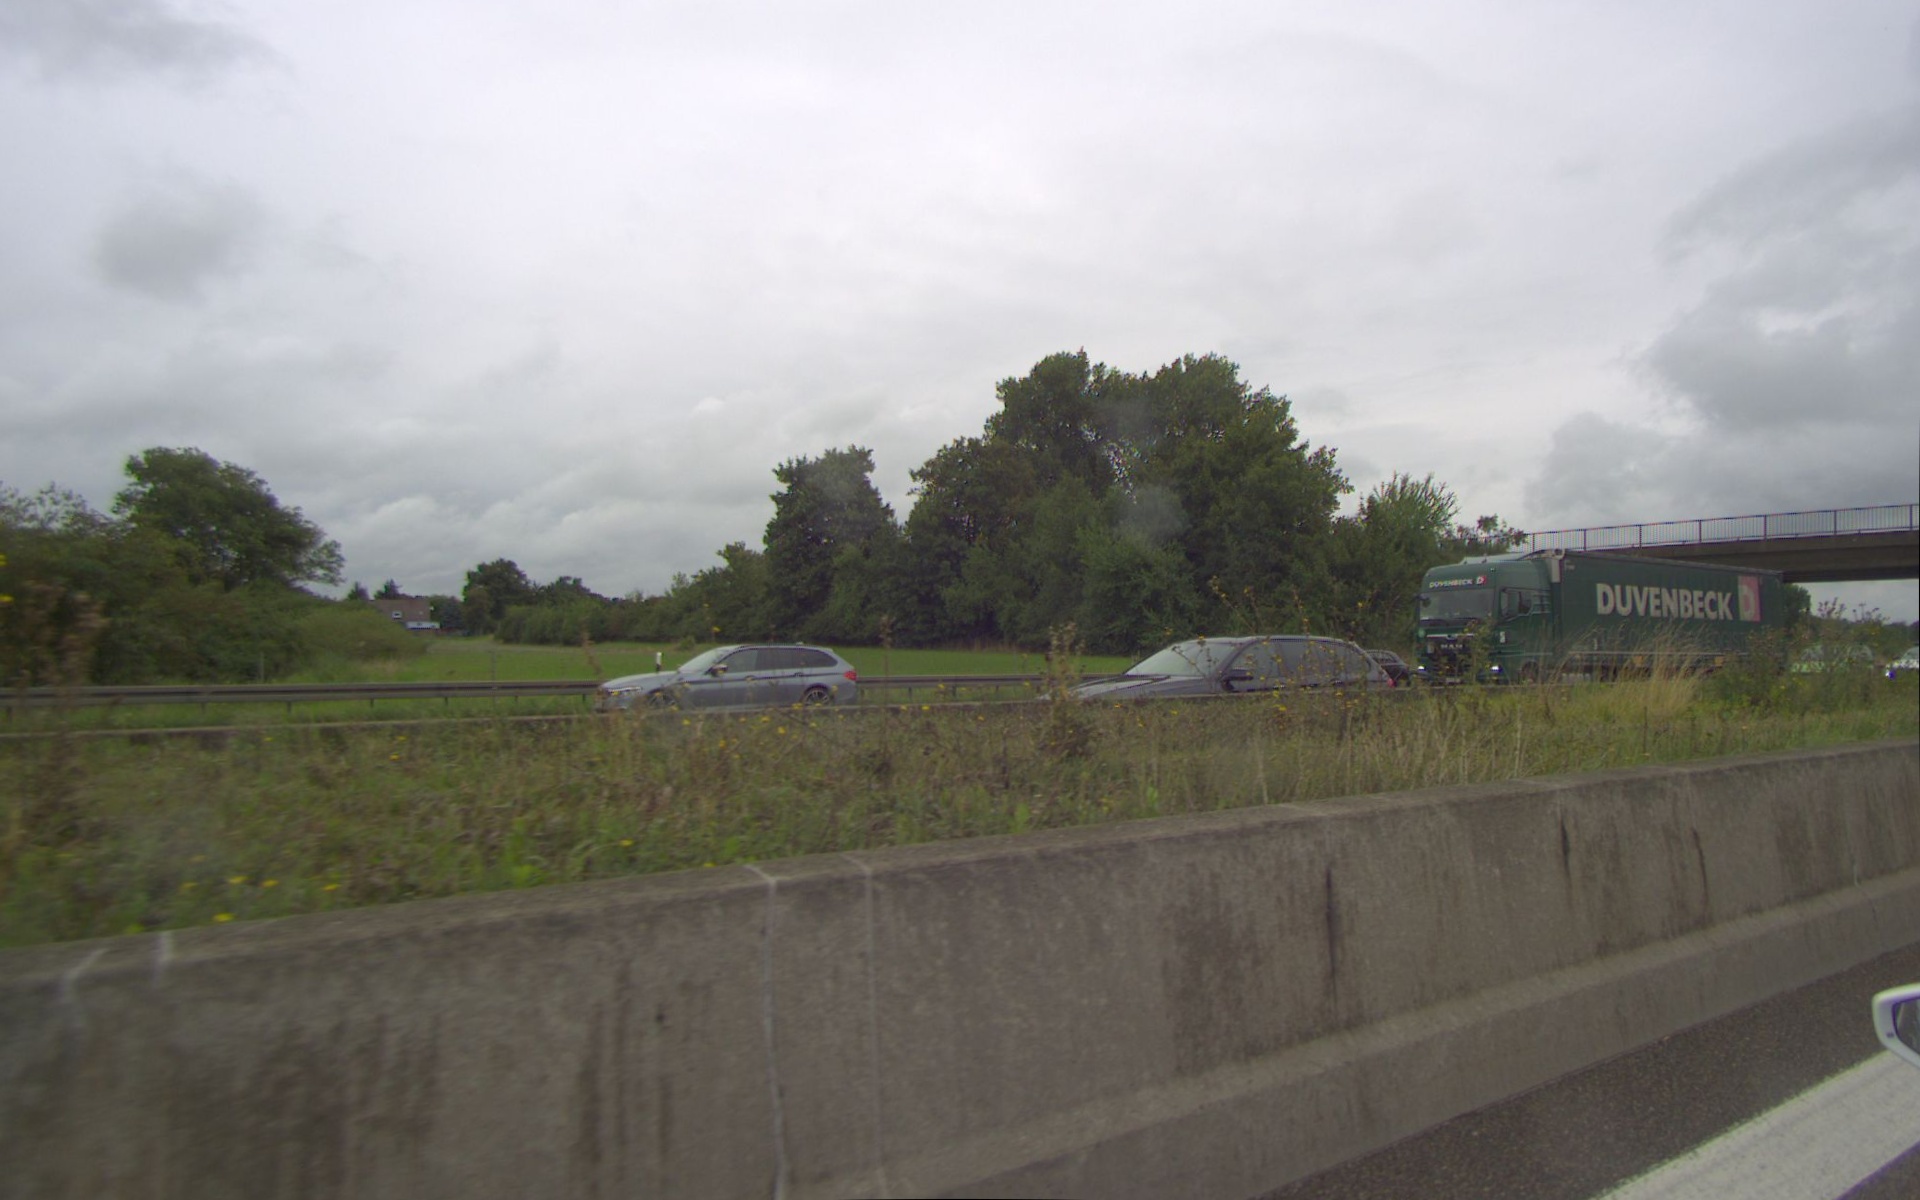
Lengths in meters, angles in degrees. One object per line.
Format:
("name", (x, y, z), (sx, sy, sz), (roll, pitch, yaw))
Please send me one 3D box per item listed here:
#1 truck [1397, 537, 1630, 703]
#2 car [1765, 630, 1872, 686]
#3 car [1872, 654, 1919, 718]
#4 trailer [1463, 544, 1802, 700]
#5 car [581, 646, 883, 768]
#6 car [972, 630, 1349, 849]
("truck", (15.276, 0.594, 27.658), (6.182, 4.104, 2.744), (3, 0, -30))
("car", (33.659, 2.269, 39.366), (3.953, 2.040, 1.984), (3, 0, -30))
("car", (32.107, 2.810, 33.197), (3.953, 2.040, 1.777), (2, -3, -30))
("trailer", (21.334, 0.837, 31.239), (14.350, 4.104, 2.744), (3, 0, -31))
("car", (-4.148, 1.878, 18.752), (5.206, 1.995, 1.809), (2, -3, -34))
("car", (2.277, 1.388, 11.177), (3.953, 2.040, 1.777), (2, -3, -30))
